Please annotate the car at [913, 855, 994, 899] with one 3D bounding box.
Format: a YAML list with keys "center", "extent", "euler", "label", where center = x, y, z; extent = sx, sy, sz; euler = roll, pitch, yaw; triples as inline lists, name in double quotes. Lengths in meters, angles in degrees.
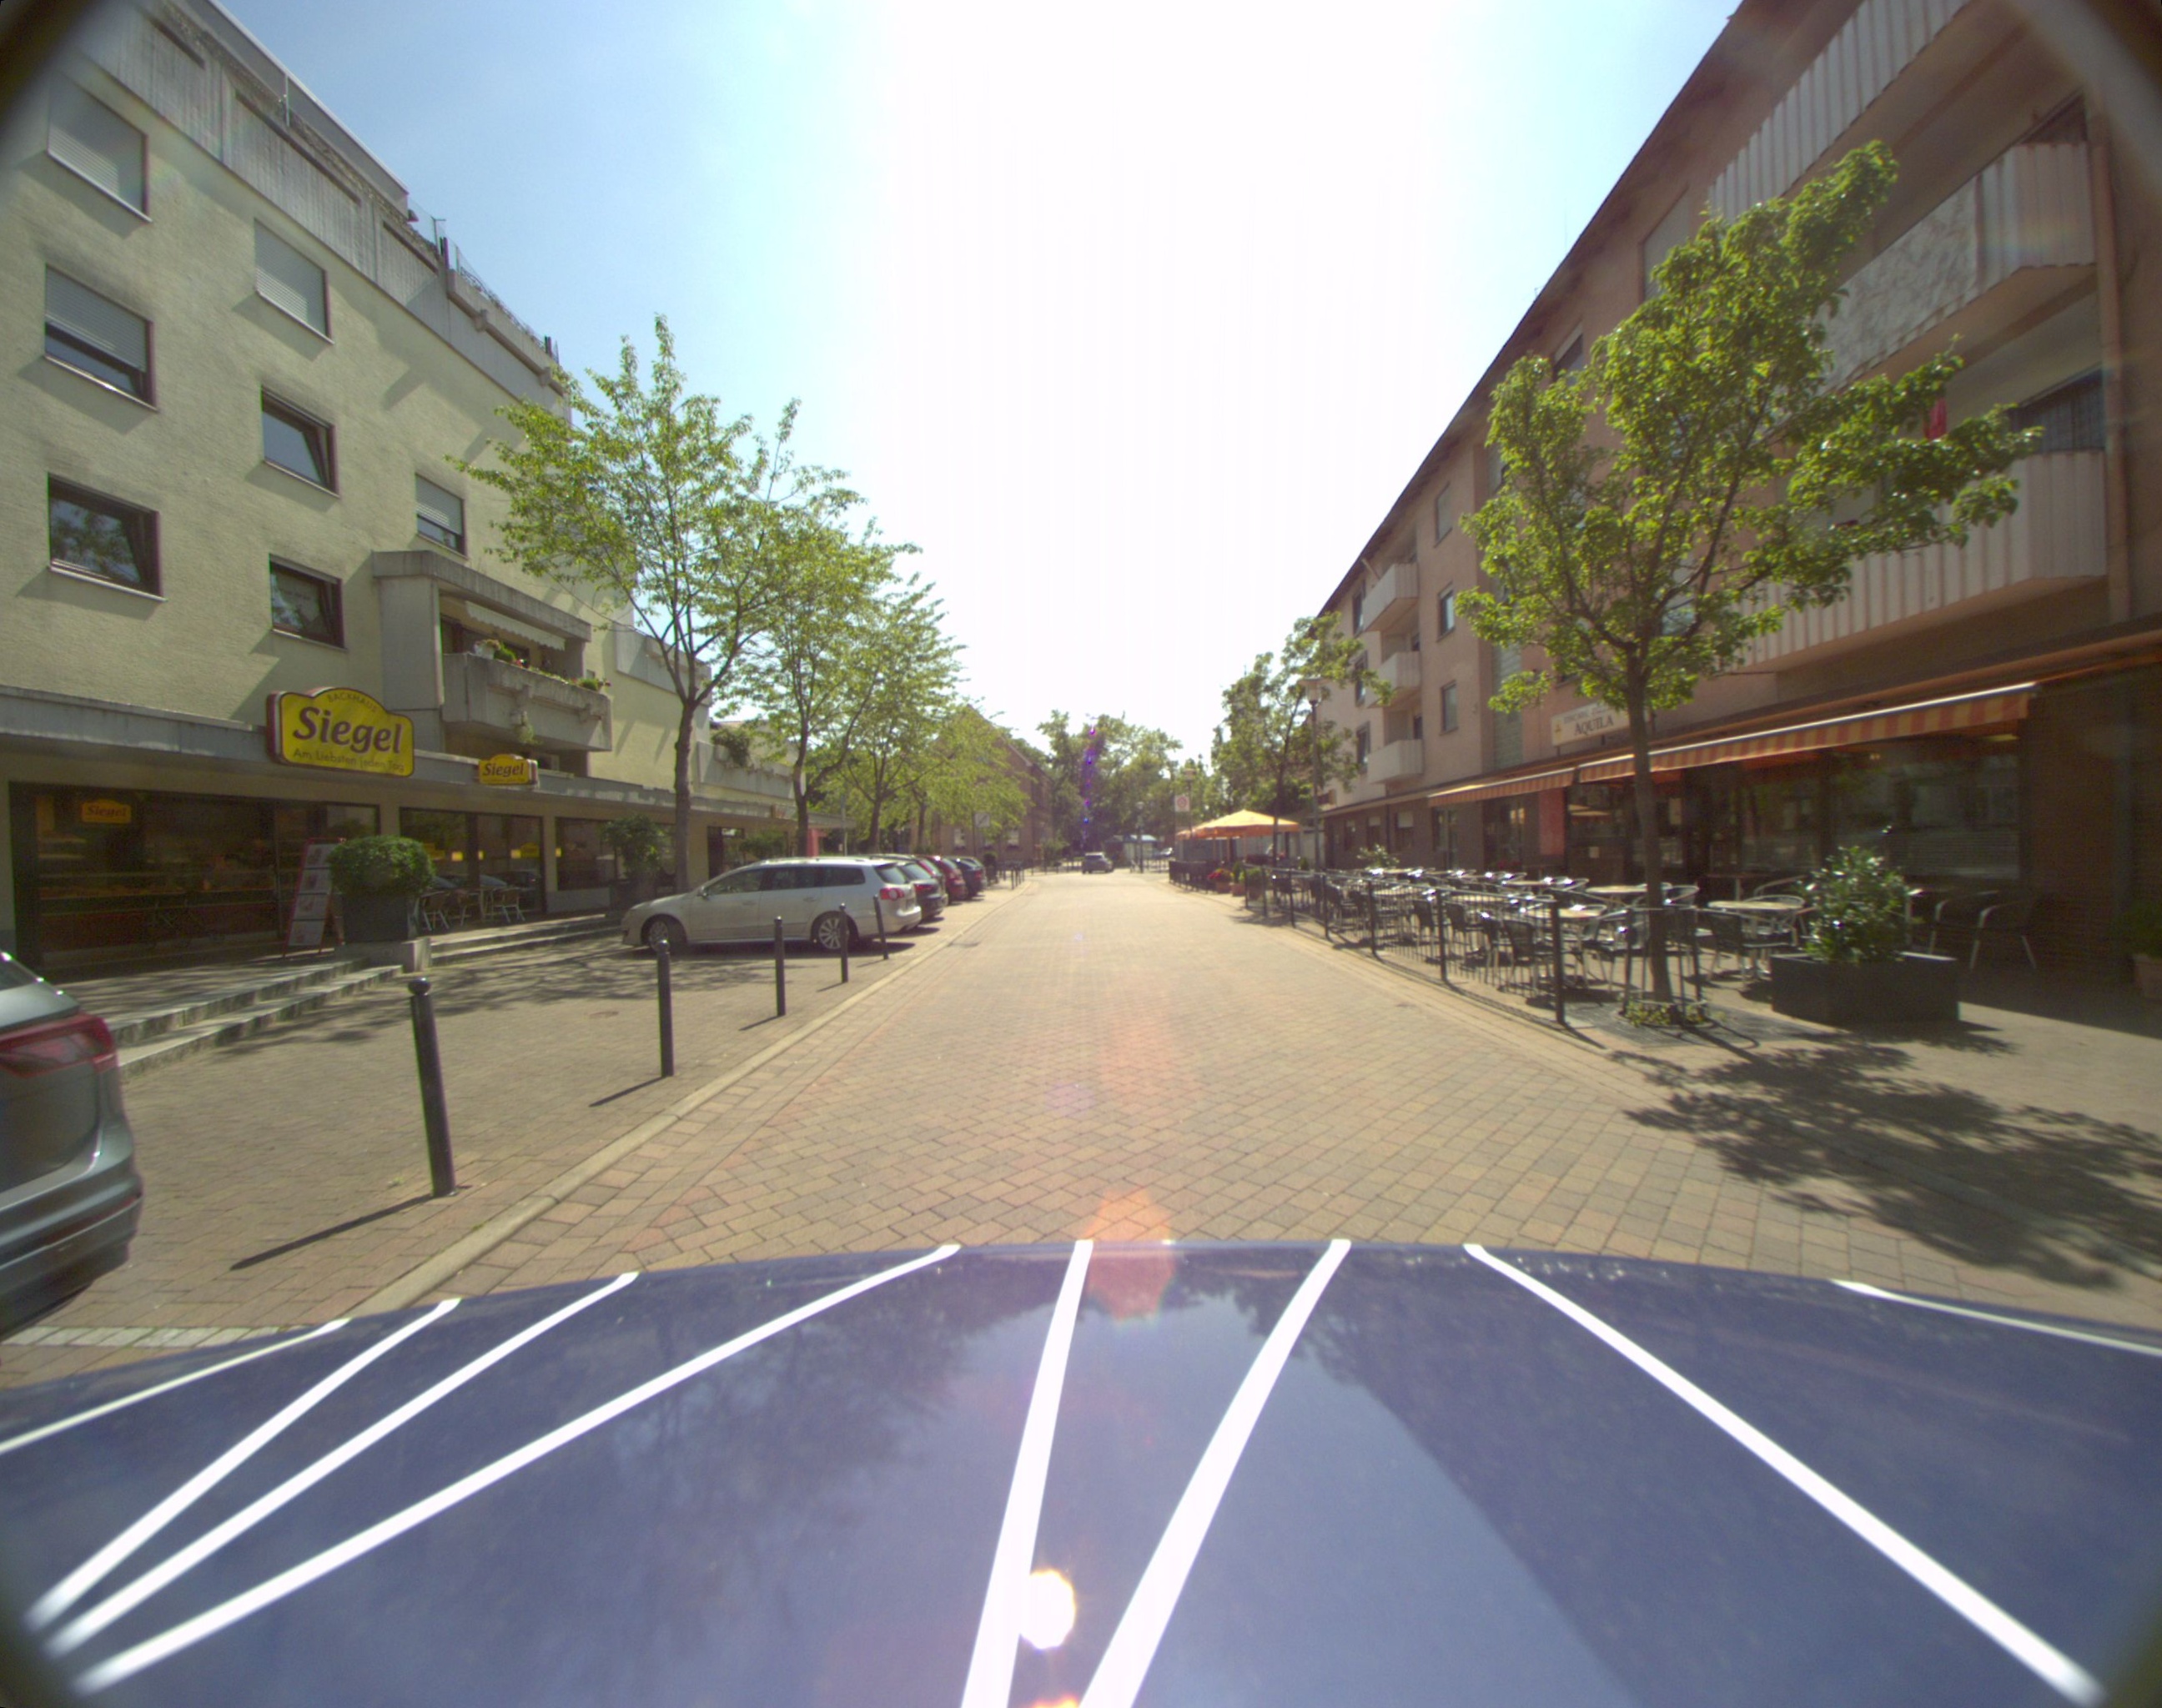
- center: [-4.645, 0.836, 27.906]
  extent: [2.703, 1.437, 1.267]
  euler: [-3, 1, 0]
  label: "car"

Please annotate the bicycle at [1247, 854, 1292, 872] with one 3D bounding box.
- center: [10.735, 0.507, 43.340]
  extent: [2.342, 0.920, 0.775]
  euler: [-2, 1, 0]
  label: "bicycle"

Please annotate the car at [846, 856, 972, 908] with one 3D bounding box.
- center: [-5.098, 0.814, 22.775]
  extent: [3.401, 1.455, 1.520]
  euler: [-1, 1, 0]
  label: "car"

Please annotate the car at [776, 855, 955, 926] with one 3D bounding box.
- center: [-4.911, 0.817, 17.660]
  extent: [3.652, 1.508, 1.633]
  euler: [-1, 1, 0]
  label: "car"

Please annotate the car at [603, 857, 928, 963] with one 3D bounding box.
- center: [-5.024, 0.868, 12.568]
  extent: [4.586, 1.535, 1.806]
  euler: [-1, 1, 0]
  label: "car"

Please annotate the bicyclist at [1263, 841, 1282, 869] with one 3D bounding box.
- center: [10.929, 0.047, 43.333]
  extent: [0.860, 1.568, 0.788]
  euler: [-2, 1, -1]
  label: "bicyclist"

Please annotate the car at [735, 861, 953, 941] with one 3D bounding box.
- center: [-4.589, 0.896, 15.102]
  extent: [3.800, 1.423, 1.613]
  euler: [-1, 1, 0]
  label: "car"

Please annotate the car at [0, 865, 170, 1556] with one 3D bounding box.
- center: [-4.648, 0.869, 1.155]
  extent: [4.255, 1.608, 1.756]
  euler: [-1, 1, -2]
  label: "car"

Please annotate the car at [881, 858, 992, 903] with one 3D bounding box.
- center: [-4.740, 0.855, 25.207]
  extent: [3.401, 1.382, 1.460]
  euler: [-1, 1, 0]
  label: "car"

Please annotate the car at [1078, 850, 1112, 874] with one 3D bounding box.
- center: [0.966, 0.529, 53.677]
  extent: [1.904, 1.547, 5.030]
  euler: [-2, 1, -4]
  label: "car"
